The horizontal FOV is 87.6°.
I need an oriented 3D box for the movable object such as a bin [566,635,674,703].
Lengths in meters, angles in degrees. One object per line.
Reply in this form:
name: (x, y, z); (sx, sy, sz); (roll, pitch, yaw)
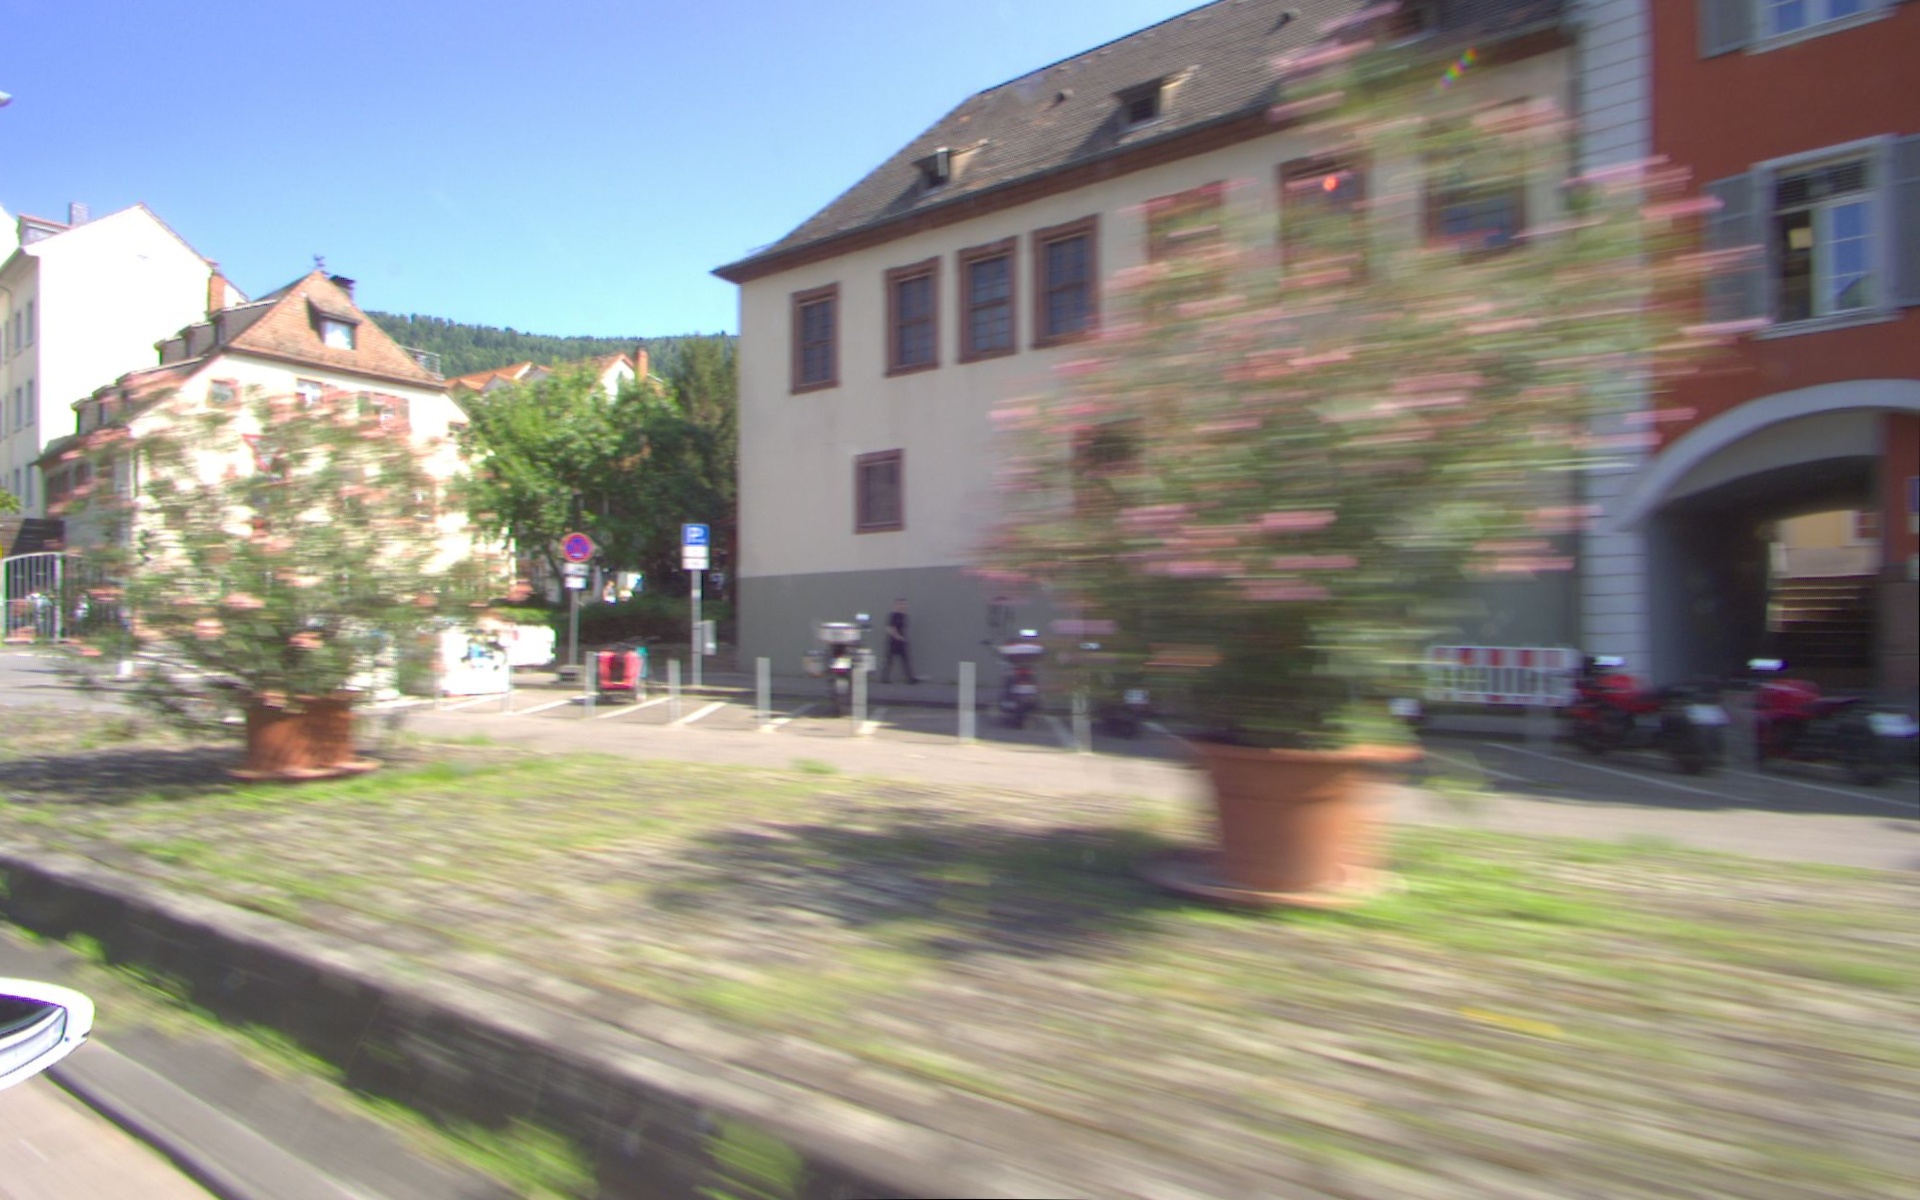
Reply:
movable object such as a bin: (-6.275, 1.238, 18.726); (1.234, 1.124, 2.956); (0, -1, -5)

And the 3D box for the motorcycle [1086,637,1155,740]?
motorcycle: (2.182, 1.167, 13.854); (0.616, 1.283, 2.199); (0, -1, 0)

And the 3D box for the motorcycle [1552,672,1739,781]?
motorcycle: (7.482, 1.343, 11.057); (0.537, 0.999, 1.932); (0, -1, -8)

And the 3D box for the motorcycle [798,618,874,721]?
motorcycle: (-1.989, 1.075, 16.458); (1.033, 1.553, 2.498); (0, -1, -2)

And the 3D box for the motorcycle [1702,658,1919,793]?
motorcycle: (8.852, 1.211, 10.285); (0.616, 1.162, 2.198); (0, -1, -8)

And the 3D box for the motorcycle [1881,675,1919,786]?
motorcycle: (10.016, 1.293, 9.337); (0.616, 1.090, 2.198); (0, -1, -8)

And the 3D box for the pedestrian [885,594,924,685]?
pedestrian: (-1.156, 0.824, 20.798); (0.610, 1.846, 0.493); (-2, -1, 32)

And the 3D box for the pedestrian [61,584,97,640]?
pedestrian: (-27.666, 0.390, 31.459); (0.698, 1.728, 0.721); (0, 0, -31)

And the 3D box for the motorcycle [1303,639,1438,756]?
motorcycle: (4.981, 1.140, 12.335); (0.768, 1.283, 2.184); (0, -1, 0)

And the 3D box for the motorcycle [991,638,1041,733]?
motorcycle: (0.802, 1.221, 14.856); (0.616, 1.268, 2.237); (1, -1, 0)

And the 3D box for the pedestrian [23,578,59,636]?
pedestrian: (-27.639, 0.213, 30.125); (0.716, 1.728, 0.703); (0, 0, -36)
